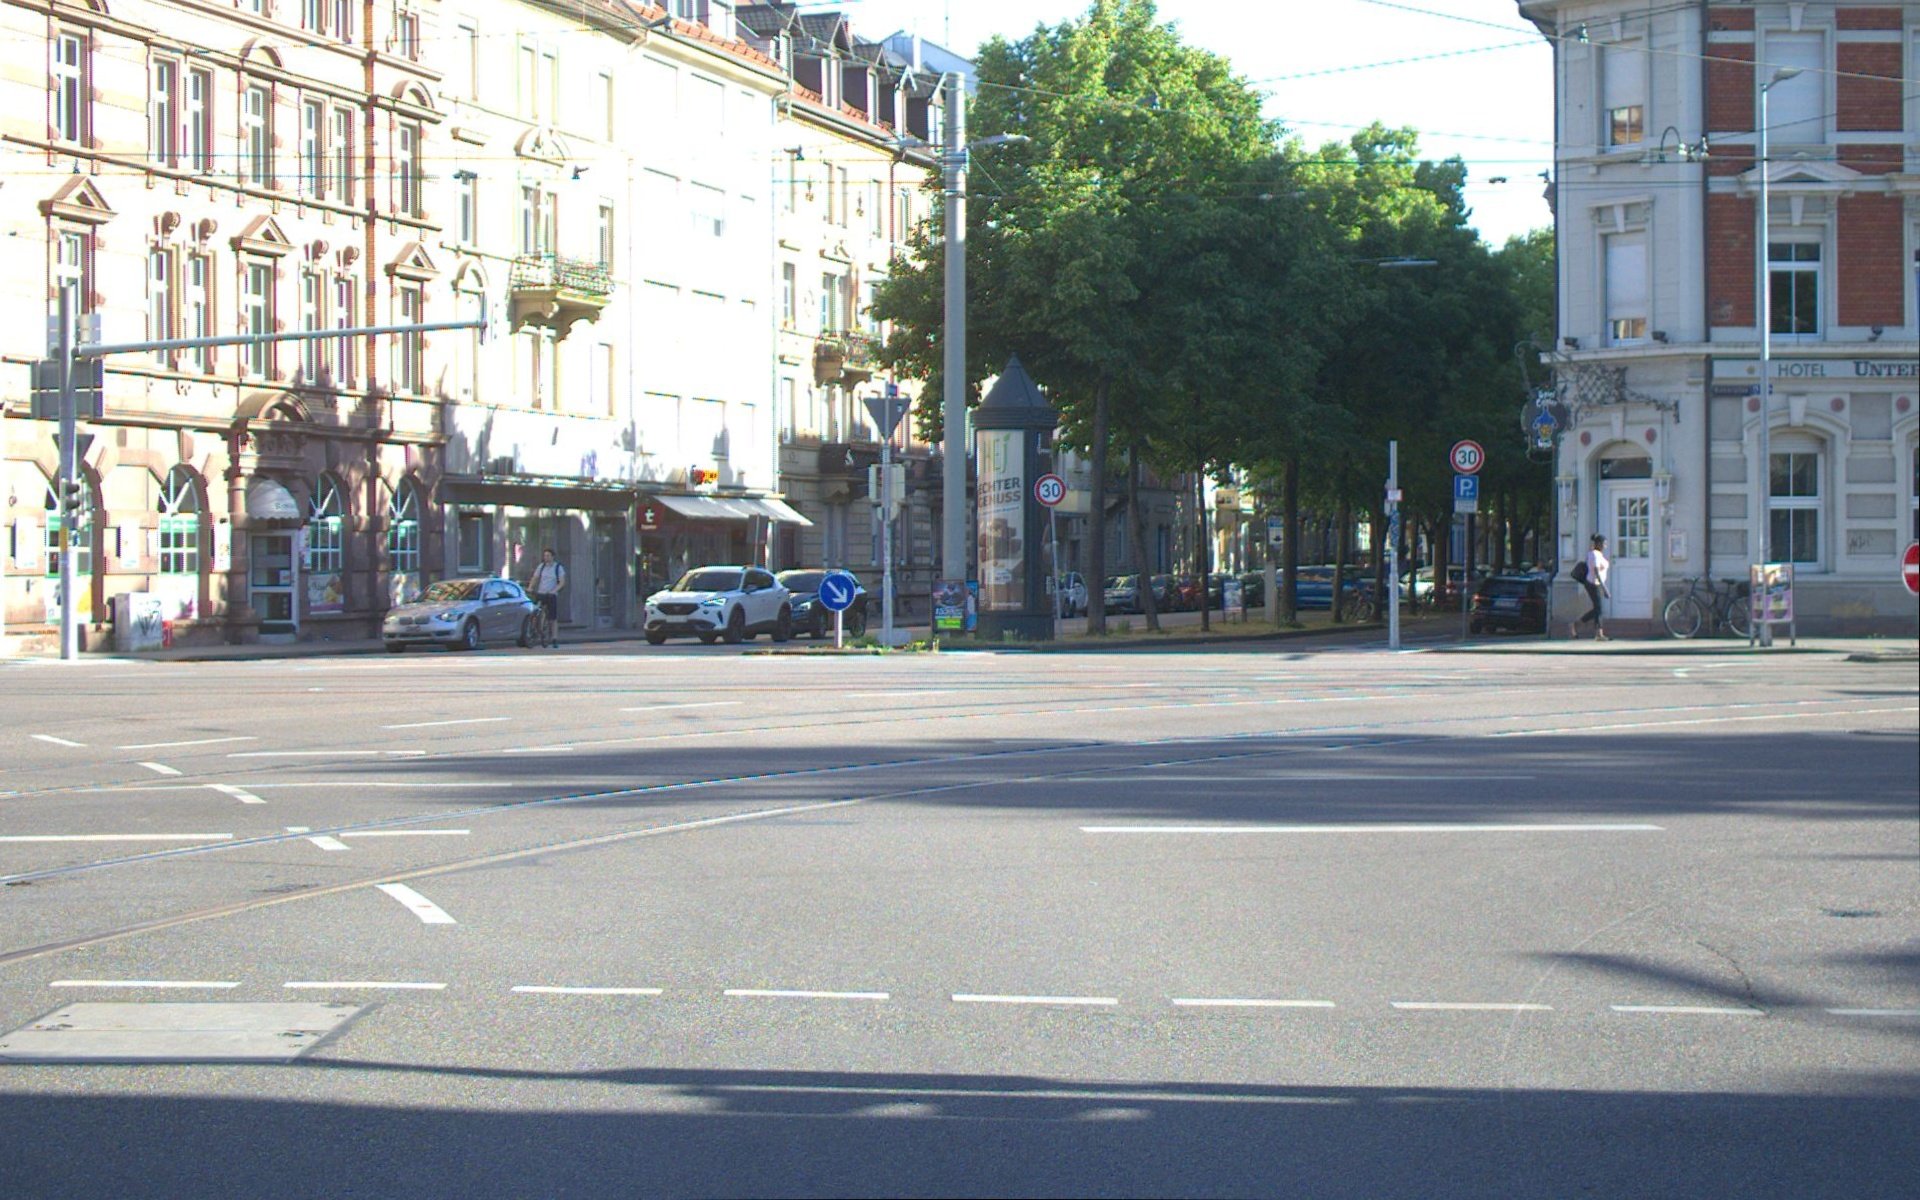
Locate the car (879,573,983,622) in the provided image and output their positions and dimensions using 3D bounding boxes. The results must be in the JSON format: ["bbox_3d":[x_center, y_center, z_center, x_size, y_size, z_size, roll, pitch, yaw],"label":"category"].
[{"bbox_3d":[-0.835,-0.088,102.086,1.995,1.400,4.166,0,1,16],"label":"car"}]

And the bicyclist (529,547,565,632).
[{"bbox_3d":[-7.833,-0.199,65.189,0.489,1.596,0.666,0,1,10],"label":"bicyclist"}]

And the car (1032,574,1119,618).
[{"bbox_3d":[3.948,-0.146,116.855,1.995,1.400,4.166,0,1,16],"label":"car"}]

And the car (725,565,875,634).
[{"bbox_3d":[-3.392,-0.038,73.640,1.995,1.400,4.166,0,1,16],"label":"car"}]

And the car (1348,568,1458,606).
[{"bbox_3d":[14.372,-0.427,111.461,3.435,1.235,1.576,0,1,11],"label":"car"}]

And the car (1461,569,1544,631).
[{"bbox_3d":[13.055,-0.024,82.523,1.756,1.415,3.998,0,1,12],"label":"car"}]

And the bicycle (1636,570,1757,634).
[{"bbox_3d":[12.276,0.025,57.337,1.953,1.050,0.715,0,1,10],"label":"bicycle"}]

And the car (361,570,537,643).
[{"bbox_3d":[-9.921,0.106,67.039,1.995,1.357,3.816,0,1,16],"label":"car"}]

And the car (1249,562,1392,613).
[{"bbox_3d":[10.456,-0.359,99.679,3.989,1.450,1.681,0,1,11],"label":"car"}]

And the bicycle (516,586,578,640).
[{"bbox_3d":[-7.841,0.235,65.296,0.655,0.997,1.664,1,1,12],"label":"bicycle"}]

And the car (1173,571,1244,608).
[{"bbox_3d":[9.892,-0.445,136.598,1.995,1.400,4.166,0,1,16],"label":"car"}]

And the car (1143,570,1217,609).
[{"bbox_3d":[8.415,-0.413,131.402,1.995,1.400,4.166,0,1,16],"label":"car"}]

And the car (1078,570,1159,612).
[{"bbox_3d":[5.661,-0.335,122.574,1.995,1.400,4.166,0,1,16],"label":"car"}]

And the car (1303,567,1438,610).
[{"bbox_3d":[12.586,-0.346,105.388,3.989,1.284,1.694,0,1,11],"label":"car"}]

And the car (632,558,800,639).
[{"bbox_3d":[-4.745,-0.050,67.466,1.995,1.511,4.166,0,1,16],"label":"car"}]

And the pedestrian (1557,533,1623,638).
[{"bbox_3d":[10.376,-0.234,56.653,1.036,1.706,0.629,1,0,10],"label":"pedestrian"}]
